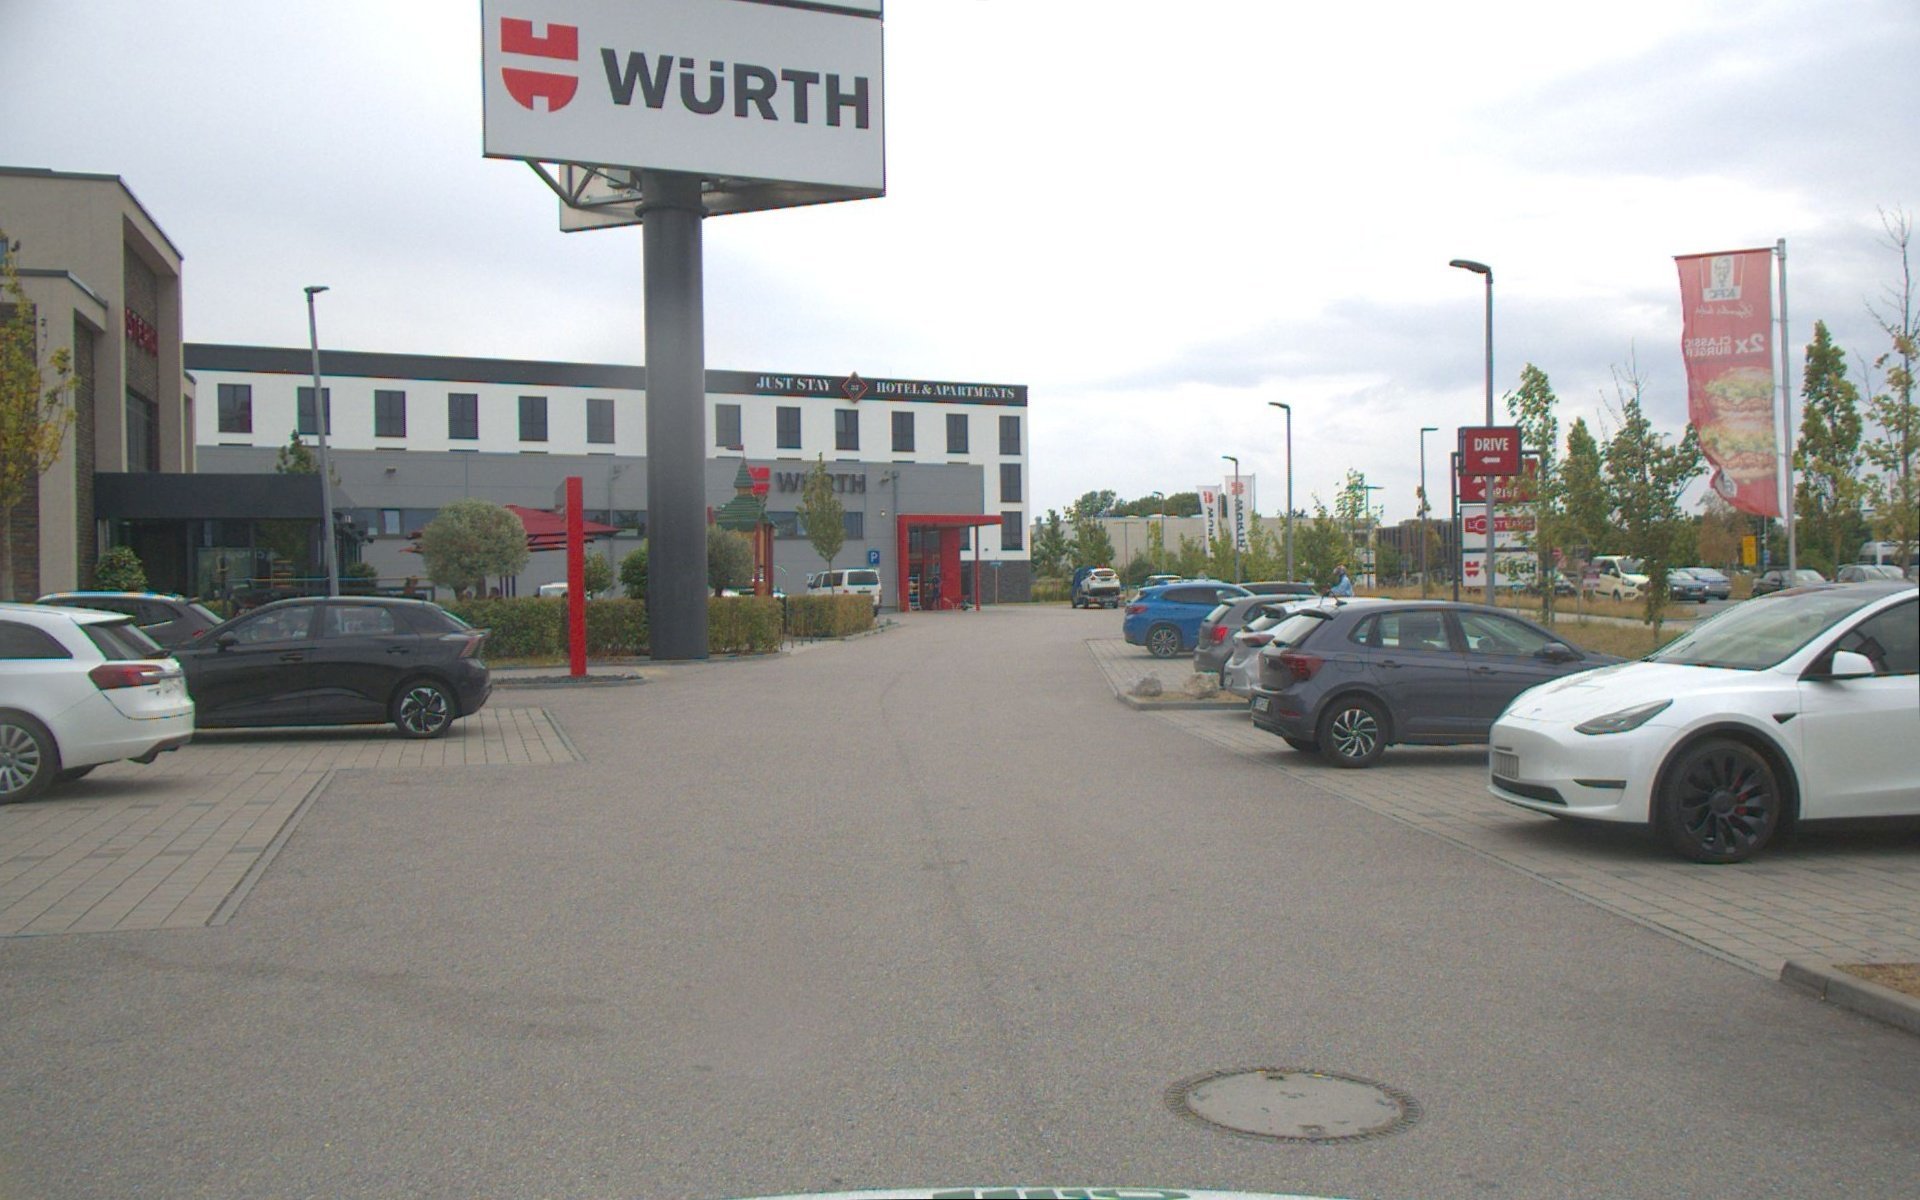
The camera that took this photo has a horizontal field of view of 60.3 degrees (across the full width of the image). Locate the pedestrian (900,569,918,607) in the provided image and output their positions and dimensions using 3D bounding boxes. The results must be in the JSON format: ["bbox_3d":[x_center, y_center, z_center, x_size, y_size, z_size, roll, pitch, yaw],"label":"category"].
[{"bbox_3d":[-2.475,-0.578,80.387,0.614,1.782,0.901,-1,0,-17],"label":"pedestrian"}]

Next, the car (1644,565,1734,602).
[{"bbox_3d":[33.887,-0.777,77.015,1.761,1.579,4.851,-3,1,-3],"label":"car"}]

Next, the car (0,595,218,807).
[{"bbox_3d":[-8.176,0.776,12.852,4.099,1.512,1.991,-1,1,-16],"label":"car"}]

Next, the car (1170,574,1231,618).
[{"bbox_3d":[8.665,-0.163,59.953,1.715,1.495,4.478,-1,1,2],"label":"car"}]

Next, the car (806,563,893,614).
[{"bbox_3d":[-4.752,-0.486,70.774,2.035,1.887,4.020,-7,2,-30],"label":"car"}]

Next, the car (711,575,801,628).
[{"bbox_3d":[-7.081,0.062,57.070,1.966,1.679,4.547,-3,1,-22],"label":"car"}]

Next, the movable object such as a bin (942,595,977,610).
[{"bbox_3d":[-0.024,0.120,79.341,1.466,0.716,0.959,-1,0,-20],"label":"movable object such as a bin"}]

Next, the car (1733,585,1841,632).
[{"bbox_3d":[29.108,0.278,58.373,1.812,1.525,4.286,-1,1,3],"label":"car"}]

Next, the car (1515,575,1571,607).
[{"bbox_3d":[26.368,-0.420,74.913,1.431,1.360,3.163,-1,1,0],"label":"car"}]

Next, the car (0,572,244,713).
[{"bbox_3d":[-11.594,0.552,21.611,3.943,1.623,1.720,-3,1,-28],"label":"car"}]

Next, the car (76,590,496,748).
[{"bbox_3d":[-7.156,0.690,18.003,4.044,1.555,1.733,-1,0,-17],"label":"car"}]

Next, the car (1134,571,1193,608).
[{"bbox_3d":[9.589,-0.491,78.191,1.822,1.679,3.993,0,0,-8],"label":"car"}]

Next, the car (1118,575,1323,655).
[{"bbox_3d":[5.428,0.301,34.946,4.113,1.571,1.866,-1,1,4],"label":"car"}]

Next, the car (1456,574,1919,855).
[{"bbox_3d":[5.642,0.642,10.418,4.444,1.568,1.923,0,0,-7],"label":"car"}]

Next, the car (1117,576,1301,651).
[{"bbox_3d":[5.560,0.281,37.325,3.975,1.485,1.777,-2,1,6],"label":"car"}]

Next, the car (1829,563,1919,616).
[{"bbox_3d":[28.722,-0.354,51.137,1.786,1.485,4.003,-3,1,5],"label":"car"}]

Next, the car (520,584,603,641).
[{"bbox_3d":[-13.151,0.413,54.364,1.966,1.679,4.547,-3,1,-22],"label":"car"}]

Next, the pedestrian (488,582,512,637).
[{"bbox_3d":[-10.334,0.213,37.159,0.412,1.220,0.455,-3,0,-12],"label":"pedestrian"}]

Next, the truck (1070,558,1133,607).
[{"bbox_3d":[8.043,-0.953,94.693,2.286,2.449,7.887,0,-2,-5],"label":"truck"}]

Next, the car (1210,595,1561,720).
[{"bbox_3d":[5.159,0.674,20.420,3.847,1.437,1.839,0,0,-1],"label":"car"}]

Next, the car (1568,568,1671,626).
[{"bbox_3d":[26.142,-0.155,65.788,1.953,2.122,5.230,-2,1,0],"label":"car"}]

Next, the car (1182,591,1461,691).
[{"bbox_3d":[5.431,0.590,25.186,3.904,1.453,1.728,0,1,2],"label":"car"}]

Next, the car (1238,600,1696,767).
[{"bbox_3d":[4.611,0.735,15.396,3.719,1.437,1.738,0,0,-2],"label":"car"}]

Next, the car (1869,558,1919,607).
[{"bbox_3d":[32.630,-0.607,55.682,1.758,1.579,4.858,-3,1,6],"label":"car"}]

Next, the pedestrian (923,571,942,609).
[{"bbox_3d":[-1.344,-0.493,80.434,0.666,1.834,0.875,-1,0,-19],"label":"pedestrian"}]

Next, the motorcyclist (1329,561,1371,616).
[{"bbox_3d":[11.096,-0.328,47.050,0.920,1.515,0.830,-2,0,-5],"label":"motorcyclist"}]

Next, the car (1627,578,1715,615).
[{"bbox_3d":[29.317,-0.173,68.350,1.727,1.419,4.218,-2,1,-1],"label":"car"}]

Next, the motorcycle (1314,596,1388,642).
[{"bbox_3d":[11.111,0.528,47.056,1.878,1.229,0.794,-2,0,-5],"label":"motorcycle"}]
